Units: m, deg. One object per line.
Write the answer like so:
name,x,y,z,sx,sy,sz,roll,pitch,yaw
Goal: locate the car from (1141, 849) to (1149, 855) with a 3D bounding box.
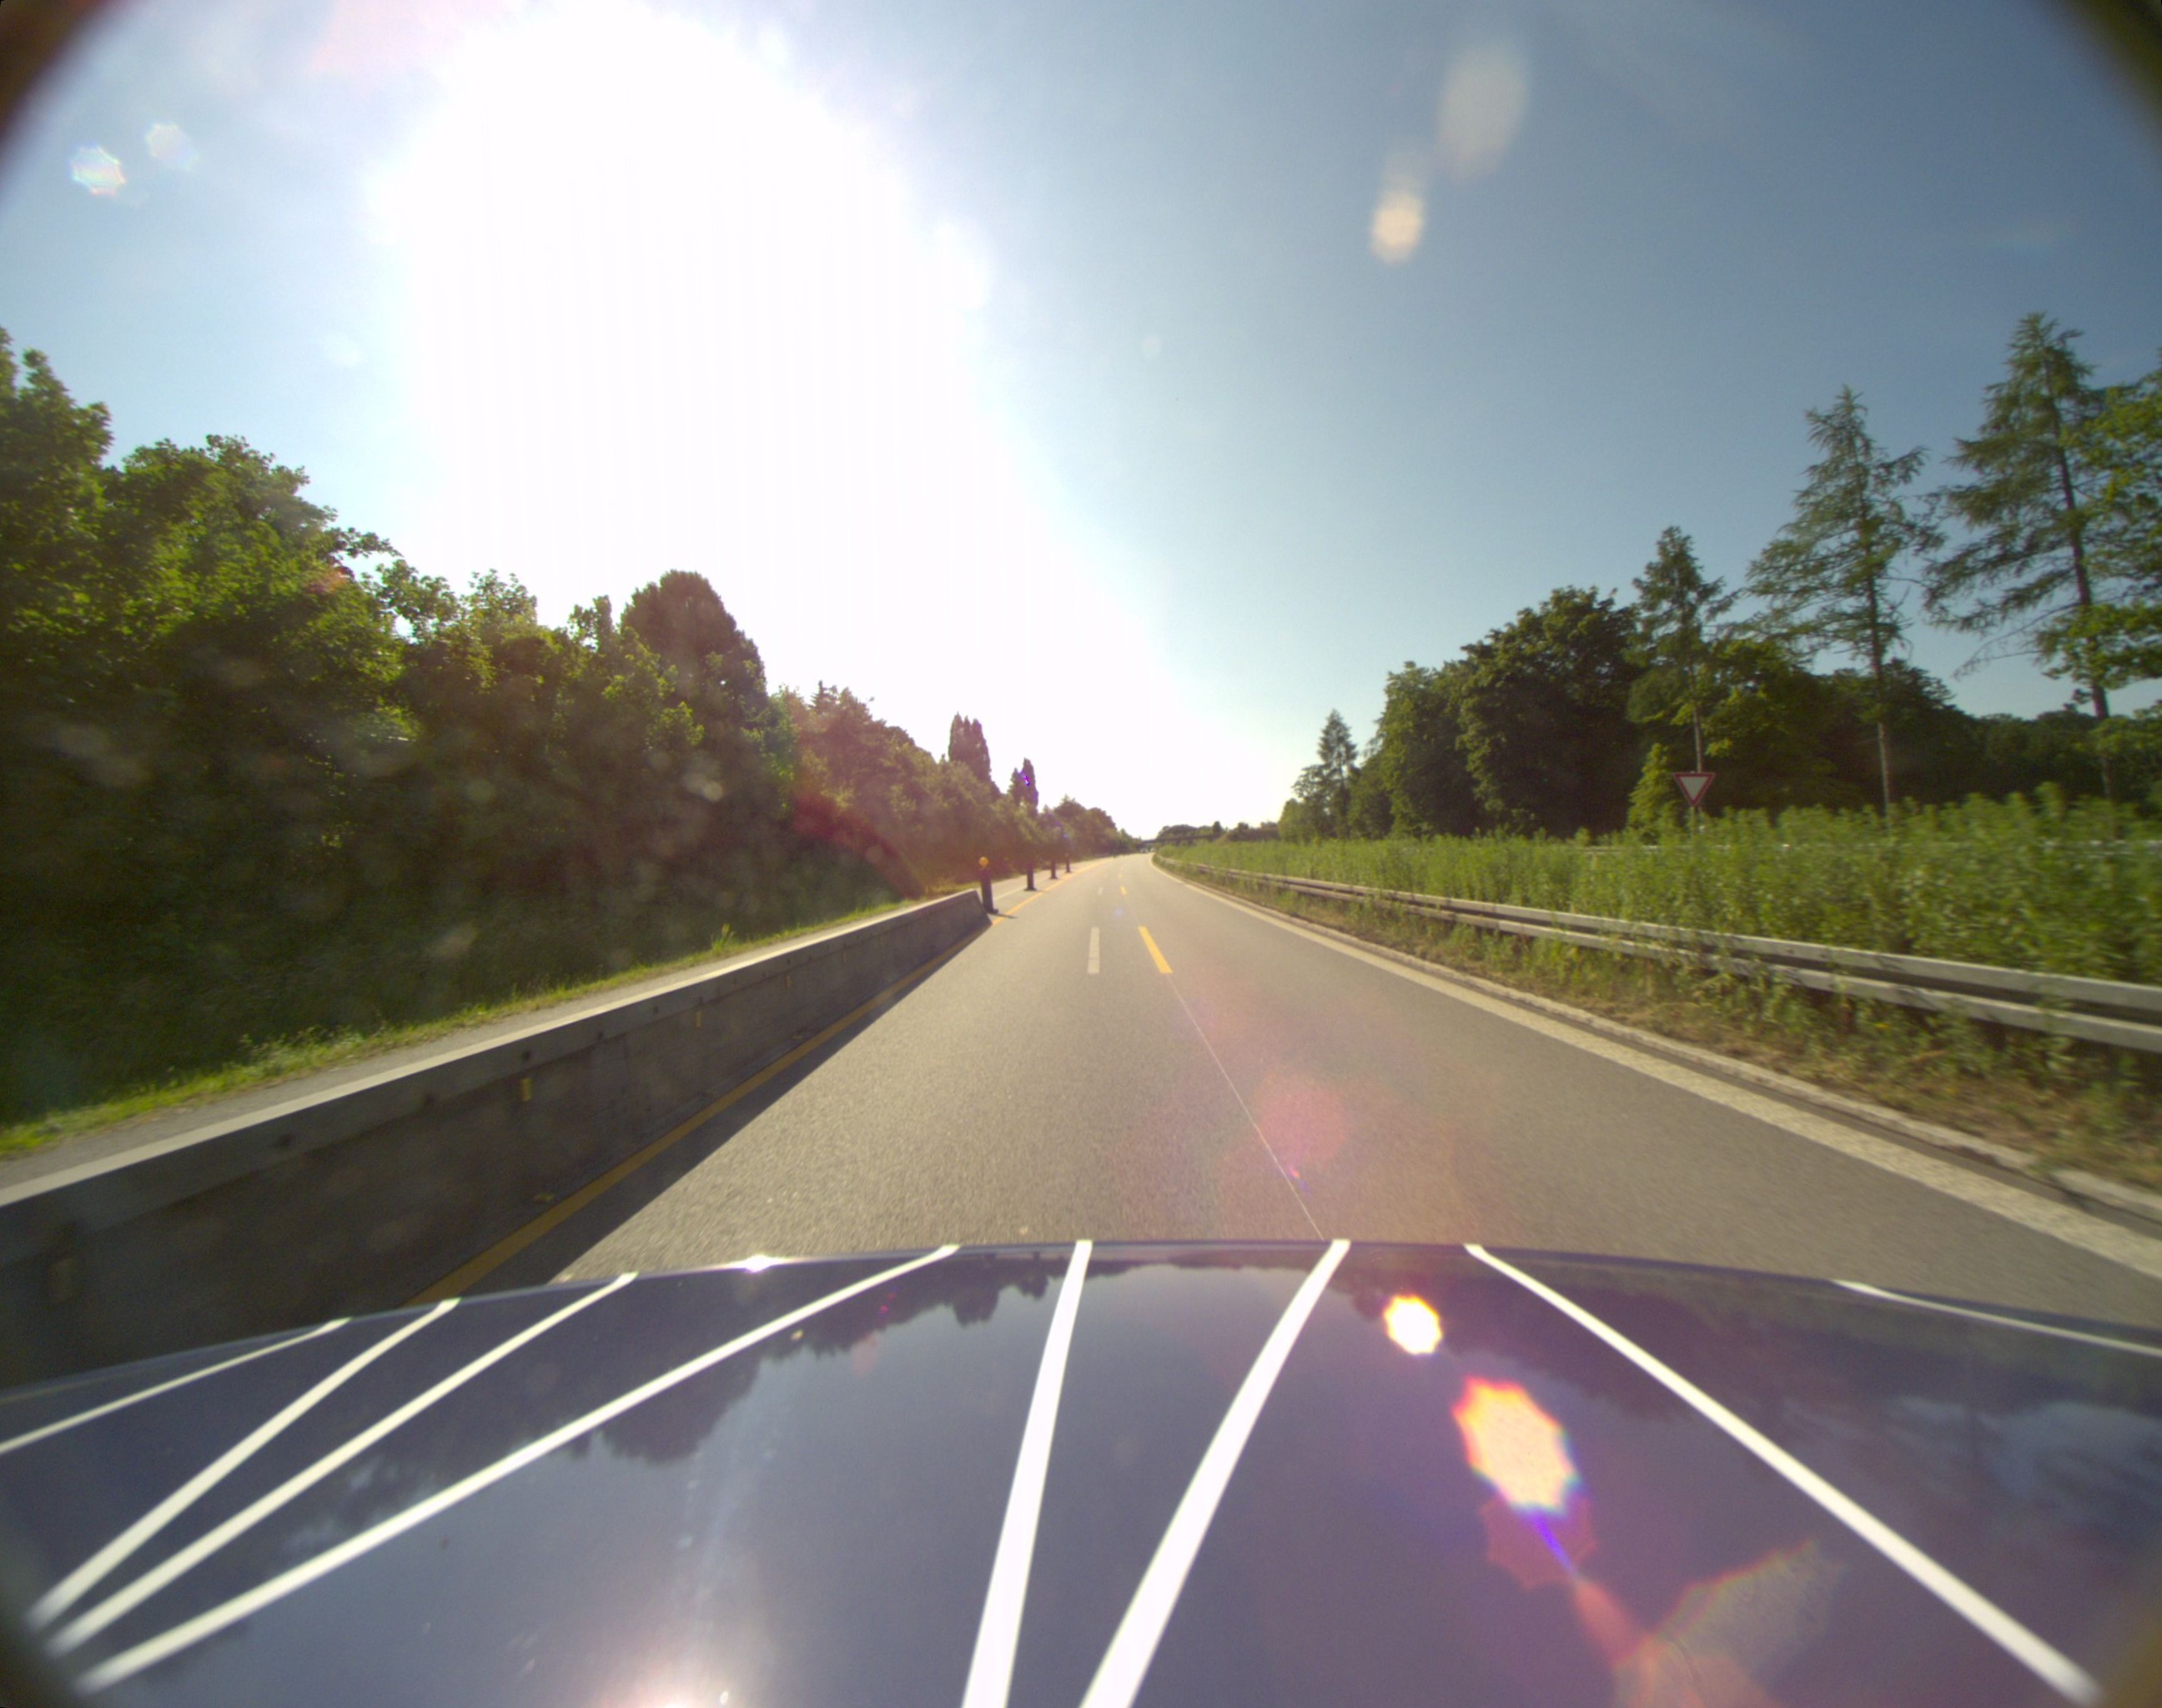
car,17.602,-0.645,208.095,1.719,1.499,4.225,-2,1,10
